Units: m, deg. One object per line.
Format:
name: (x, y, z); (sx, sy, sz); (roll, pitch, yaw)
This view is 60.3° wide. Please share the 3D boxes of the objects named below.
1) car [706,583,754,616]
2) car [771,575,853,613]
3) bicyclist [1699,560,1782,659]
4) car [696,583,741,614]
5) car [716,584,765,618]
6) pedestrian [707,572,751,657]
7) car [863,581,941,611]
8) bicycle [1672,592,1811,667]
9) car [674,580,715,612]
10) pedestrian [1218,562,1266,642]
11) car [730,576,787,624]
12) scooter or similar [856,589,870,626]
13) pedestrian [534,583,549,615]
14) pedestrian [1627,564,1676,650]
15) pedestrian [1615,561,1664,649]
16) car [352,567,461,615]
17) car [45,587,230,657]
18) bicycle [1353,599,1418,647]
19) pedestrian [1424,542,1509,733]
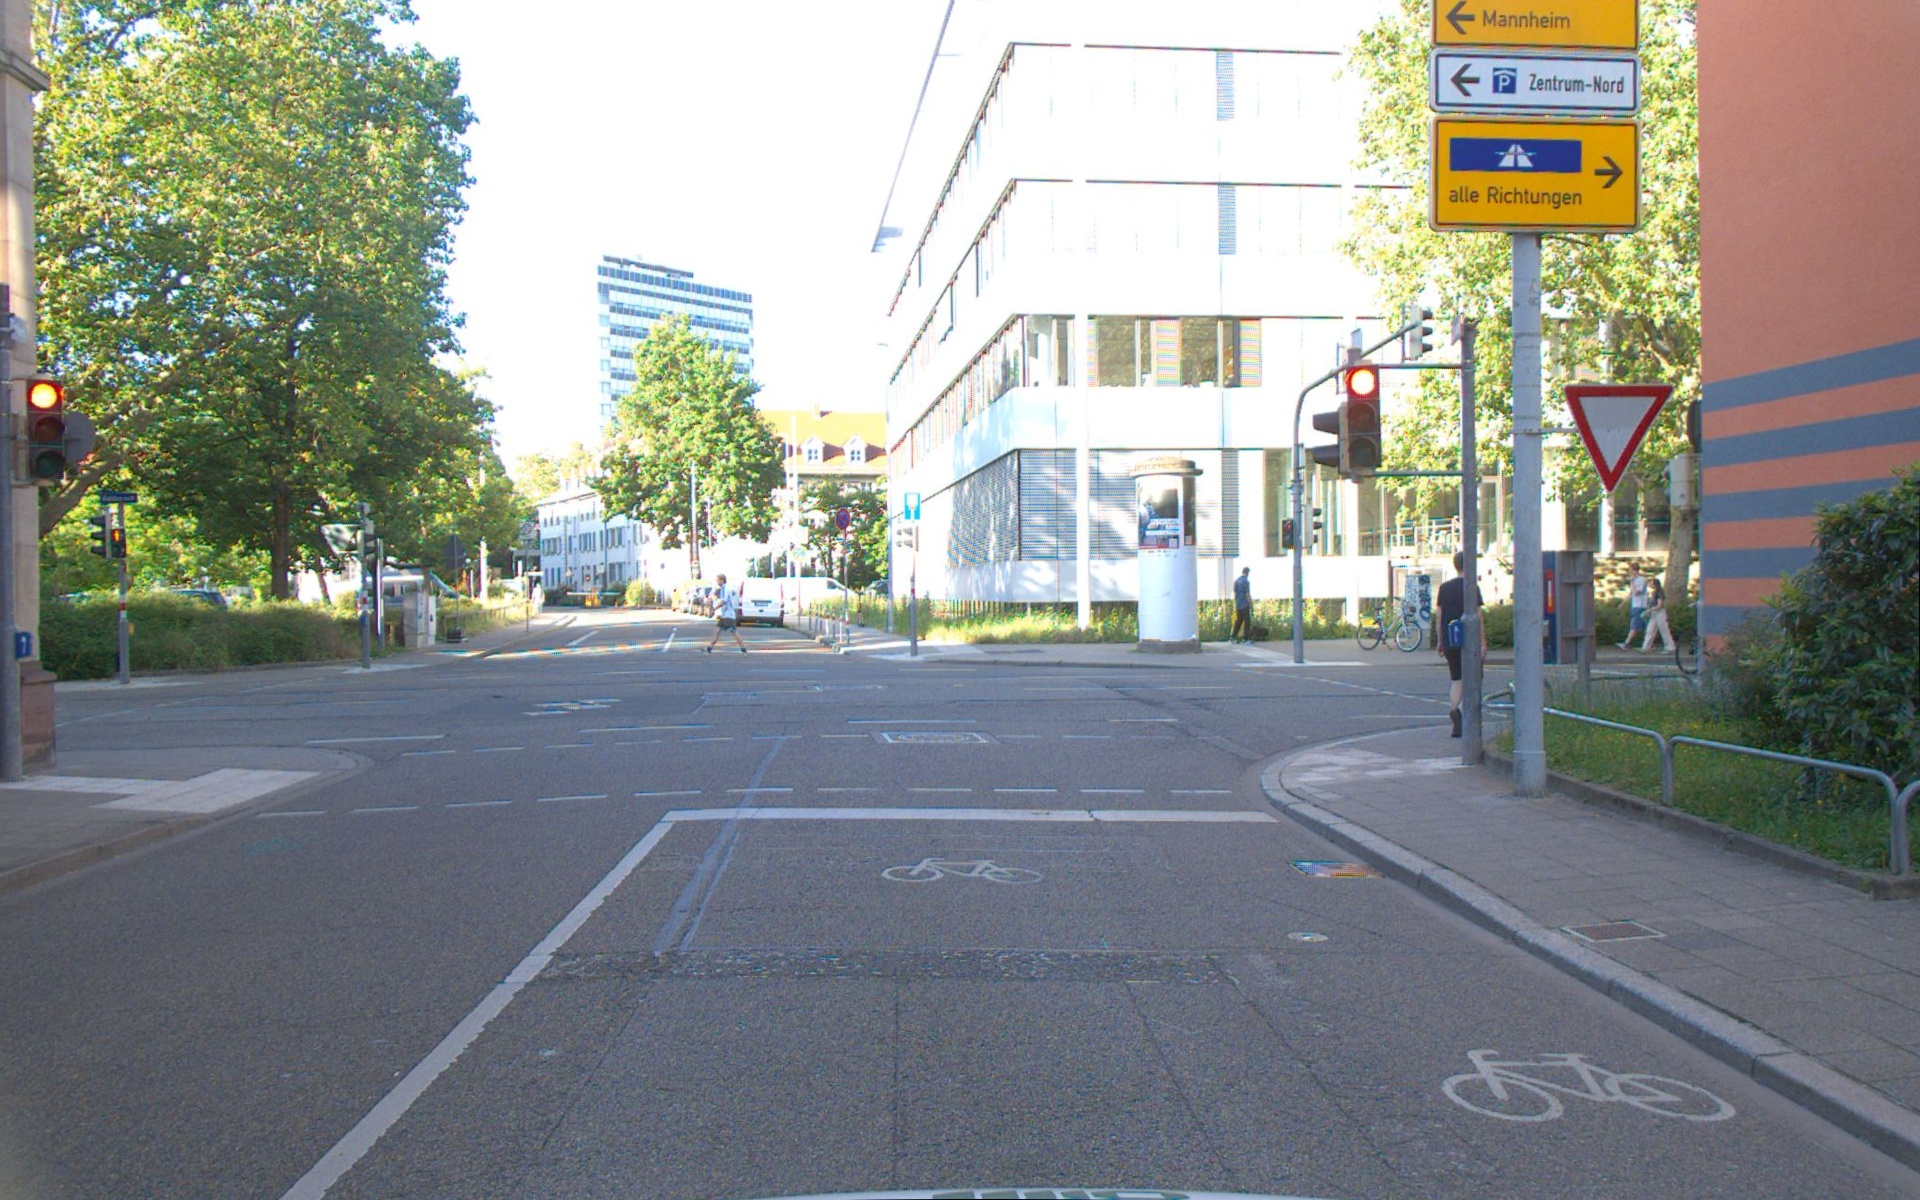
car: (-11.308, -0.014, 81.085); (1.959, 1.525, 4.272); (1, 0, -13)
car: (-9.203, -0.361, 102.798); (4.718, 2.196, 1.990); (1, 0, -18)
bicyclist: (12.512, 0.144, 26.538); (1.052, 1.554, 0.593); (-1, 0, 5)
car: (-12.552, -0.056, 85.790); (1.959, 1.525, 4.637); (1, 0, -13)
car: (-10.195, 0.054, 76.654); (1.958, 1.525, 4.639); (1, 0, -11)
pedestrian: (-5.263, 0.337, 37.730); (0.895, 1.901, 0.742); (1, -1, -1)
car: (-3.678, -0.249, 104.725); (4.563, 1.755, 1.991); (1, 0, -17)
bicycle: (12.524, 0.465, 26.531); (1.922, 1.172, 0.593); (-1, 0, 5)
car: (-15.385, -0.218, 95.605); (1.960, 1.755, 4.635); (1, 0, -14)
pedestrian: (6.650, 0.045, 39.029); (0.897, 1.847, 0.760); (1, -1, -9)
car: (-7.915, 0.012, 64.704); (1.957, 1.755, 4.641); (1, 0, -10)
scooter or similar: (-3.427, 0.263, 58.237); (0.429, 1.278, 1.418); (-1, 0, -5)
pedestrian: (-21.145, -0.051, 83.558); (0.688, 1.614, 0.634); (1, -1, -16)
pedestrian: (14.319, 0.147, 34.253); (0.749, 1.749, 0.648); (1, -1, 2)
pedestrian: (14.367, 0.112, 34.985); (0.749, 1.826, 0.648); (1, -1, 2)
car: (-24.963, -0.385, 74.681); (4.363, 2.049, 1.995); (1, 0, -10)
car: (-18.363, 0.494, 37.065); (3.347, 1.483, 1.646); (1, 0, -11)
bicycle: (9.326, 0.502, 36.286); (0.376, 1.026, 1.410); (-1, 0, -42)
pedestrian: (5.027, 0.363, 16.402); (0.686, 1.842, 0.719); (1, -1, 26)
